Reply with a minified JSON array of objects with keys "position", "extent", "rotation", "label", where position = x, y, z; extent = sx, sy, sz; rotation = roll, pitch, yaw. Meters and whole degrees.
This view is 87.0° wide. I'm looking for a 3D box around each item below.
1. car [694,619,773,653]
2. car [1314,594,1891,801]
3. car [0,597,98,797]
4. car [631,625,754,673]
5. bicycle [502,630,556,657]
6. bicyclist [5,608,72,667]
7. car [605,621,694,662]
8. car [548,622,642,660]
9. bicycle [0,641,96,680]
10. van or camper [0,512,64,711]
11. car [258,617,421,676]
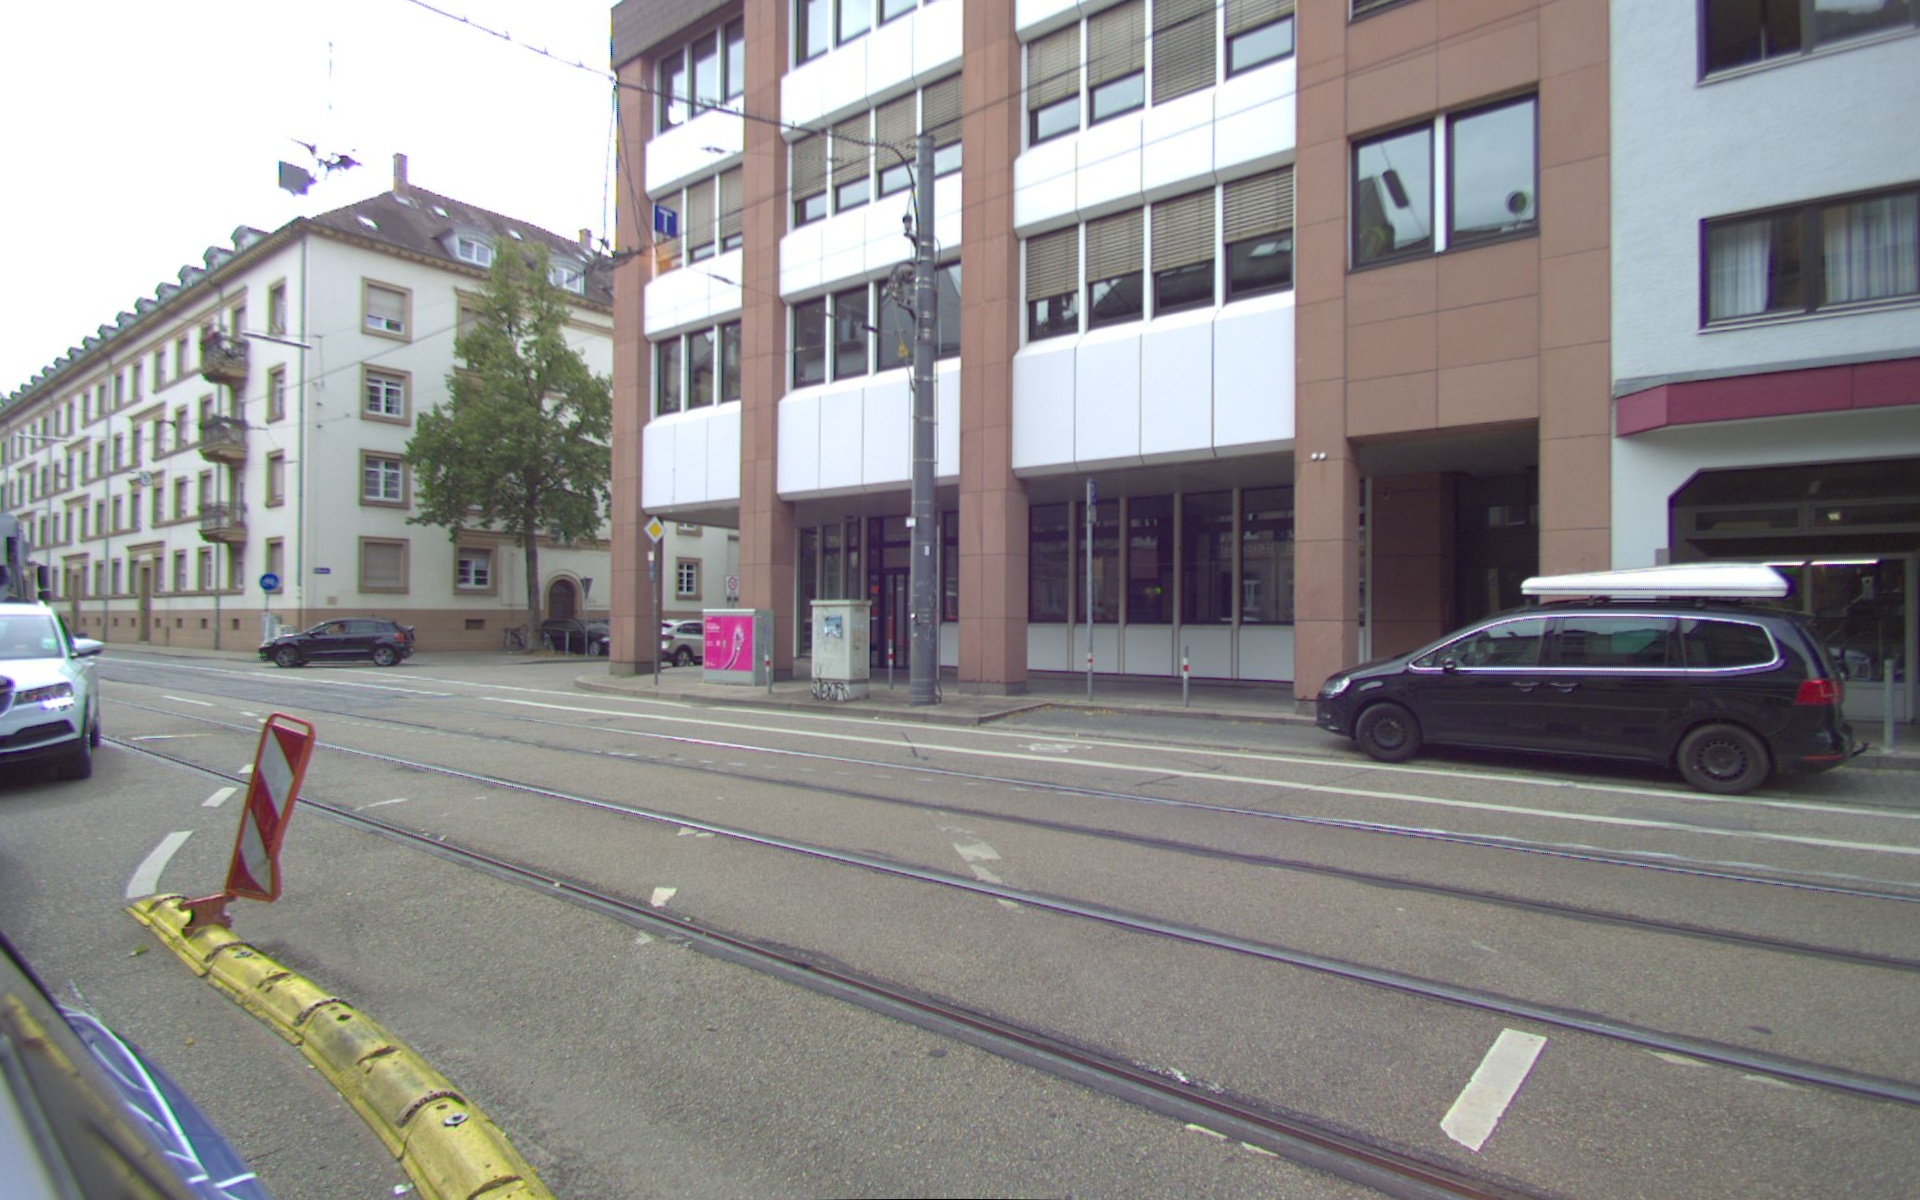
[{"position":[-10.083,1.580,44.995],"extent":[3.520,1.473,1.572],"rotation":[-1,-2,38],"label":"car"},{"position":[6.326,0.832,10.444],"extent":[4.694,1.659,1.789],"rotation":[-1,0,40],"label":"car"},{"position":[-9.435,0.829,9.456],"extent":[4.284,1.603,1.749],"rotation":[-2,-1,45],"label":"car"},{"position":[-8.181,1.464,31.257],"extent":[1.606,1.399,3.611],"rotation":[-1,-2,31],"label":"car"},{"position":[-17.739,1.785,41.678],"extent":[0.792,1.094,1.900],"rotation":[-2,-2,39],"label":"bicycle"},{"position":[-23.899,0.968,26.277],"extent":[1.240,1.473,0.678],"rotation":[1,-3,-41],"label":"bicyclist"},{"position":[-12.490,1.645,40.646],"extent":[3.711,1.559,1.591],"rotation":[-1,-2,38],"label":"car"},{"position":[-14.039,1.559,38.854],"extent":[3.869,1.407,1.591],"rotation":[-1,-2,38],"label":"car"},{"position":[-23.799,1.557,26.339],"extent":[1.981,0.972,0.674],"rotation":[1,-3,-42],"label":"bicycle"},{"position":[-20.651,0.283,20.220],"extent":[9.642,3.447,2.575],"rotation":[-1,-2,39],"label":"van or camper"},{"position":[-18.310,1.340,30.104],"extent":[3.979,1.549,1.780],"rotation":[-1,0,-27],"label":"car"}]
